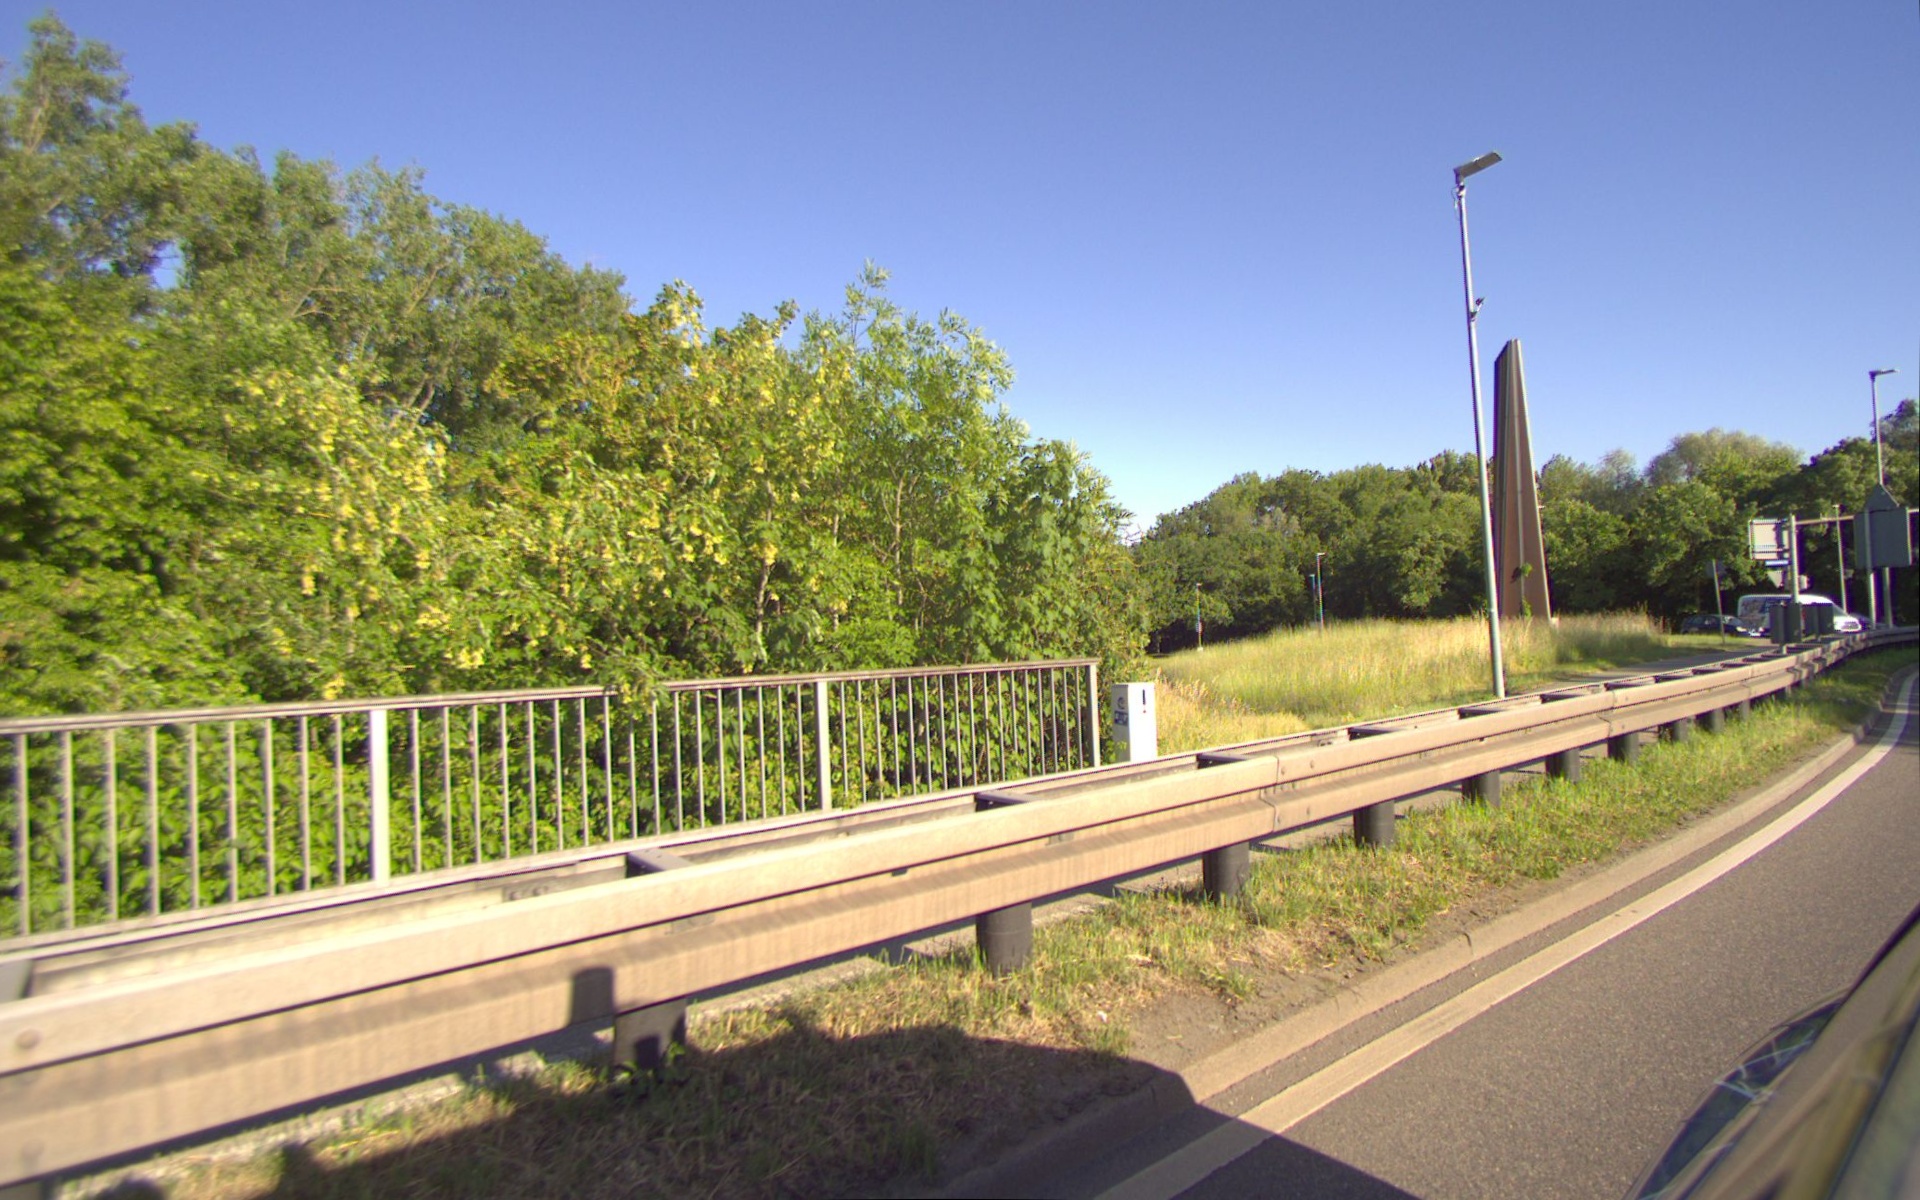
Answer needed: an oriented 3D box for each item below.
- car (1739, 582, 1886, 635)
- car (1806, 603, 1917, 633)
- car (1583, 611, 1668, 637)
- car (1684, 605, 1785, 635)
[{"bbox_3d":[43.263,0.493,51.578,2.072,2.532,5.711,0,-2,-8],"label":"car"},{"bbox_3d":[46.465,0.915,52.279,1.733,1.458,4.095,0,0,-9],"label":"car"},{"bbox_3d":[38.370,1.363,58.502,1.614,1.408,4.296,0,0,-9],"label":"car"},{"bbox_3d":[39.557,1.005,51.822,1.807,1.432,3.993,0,0,-7],"label":"car"}]
